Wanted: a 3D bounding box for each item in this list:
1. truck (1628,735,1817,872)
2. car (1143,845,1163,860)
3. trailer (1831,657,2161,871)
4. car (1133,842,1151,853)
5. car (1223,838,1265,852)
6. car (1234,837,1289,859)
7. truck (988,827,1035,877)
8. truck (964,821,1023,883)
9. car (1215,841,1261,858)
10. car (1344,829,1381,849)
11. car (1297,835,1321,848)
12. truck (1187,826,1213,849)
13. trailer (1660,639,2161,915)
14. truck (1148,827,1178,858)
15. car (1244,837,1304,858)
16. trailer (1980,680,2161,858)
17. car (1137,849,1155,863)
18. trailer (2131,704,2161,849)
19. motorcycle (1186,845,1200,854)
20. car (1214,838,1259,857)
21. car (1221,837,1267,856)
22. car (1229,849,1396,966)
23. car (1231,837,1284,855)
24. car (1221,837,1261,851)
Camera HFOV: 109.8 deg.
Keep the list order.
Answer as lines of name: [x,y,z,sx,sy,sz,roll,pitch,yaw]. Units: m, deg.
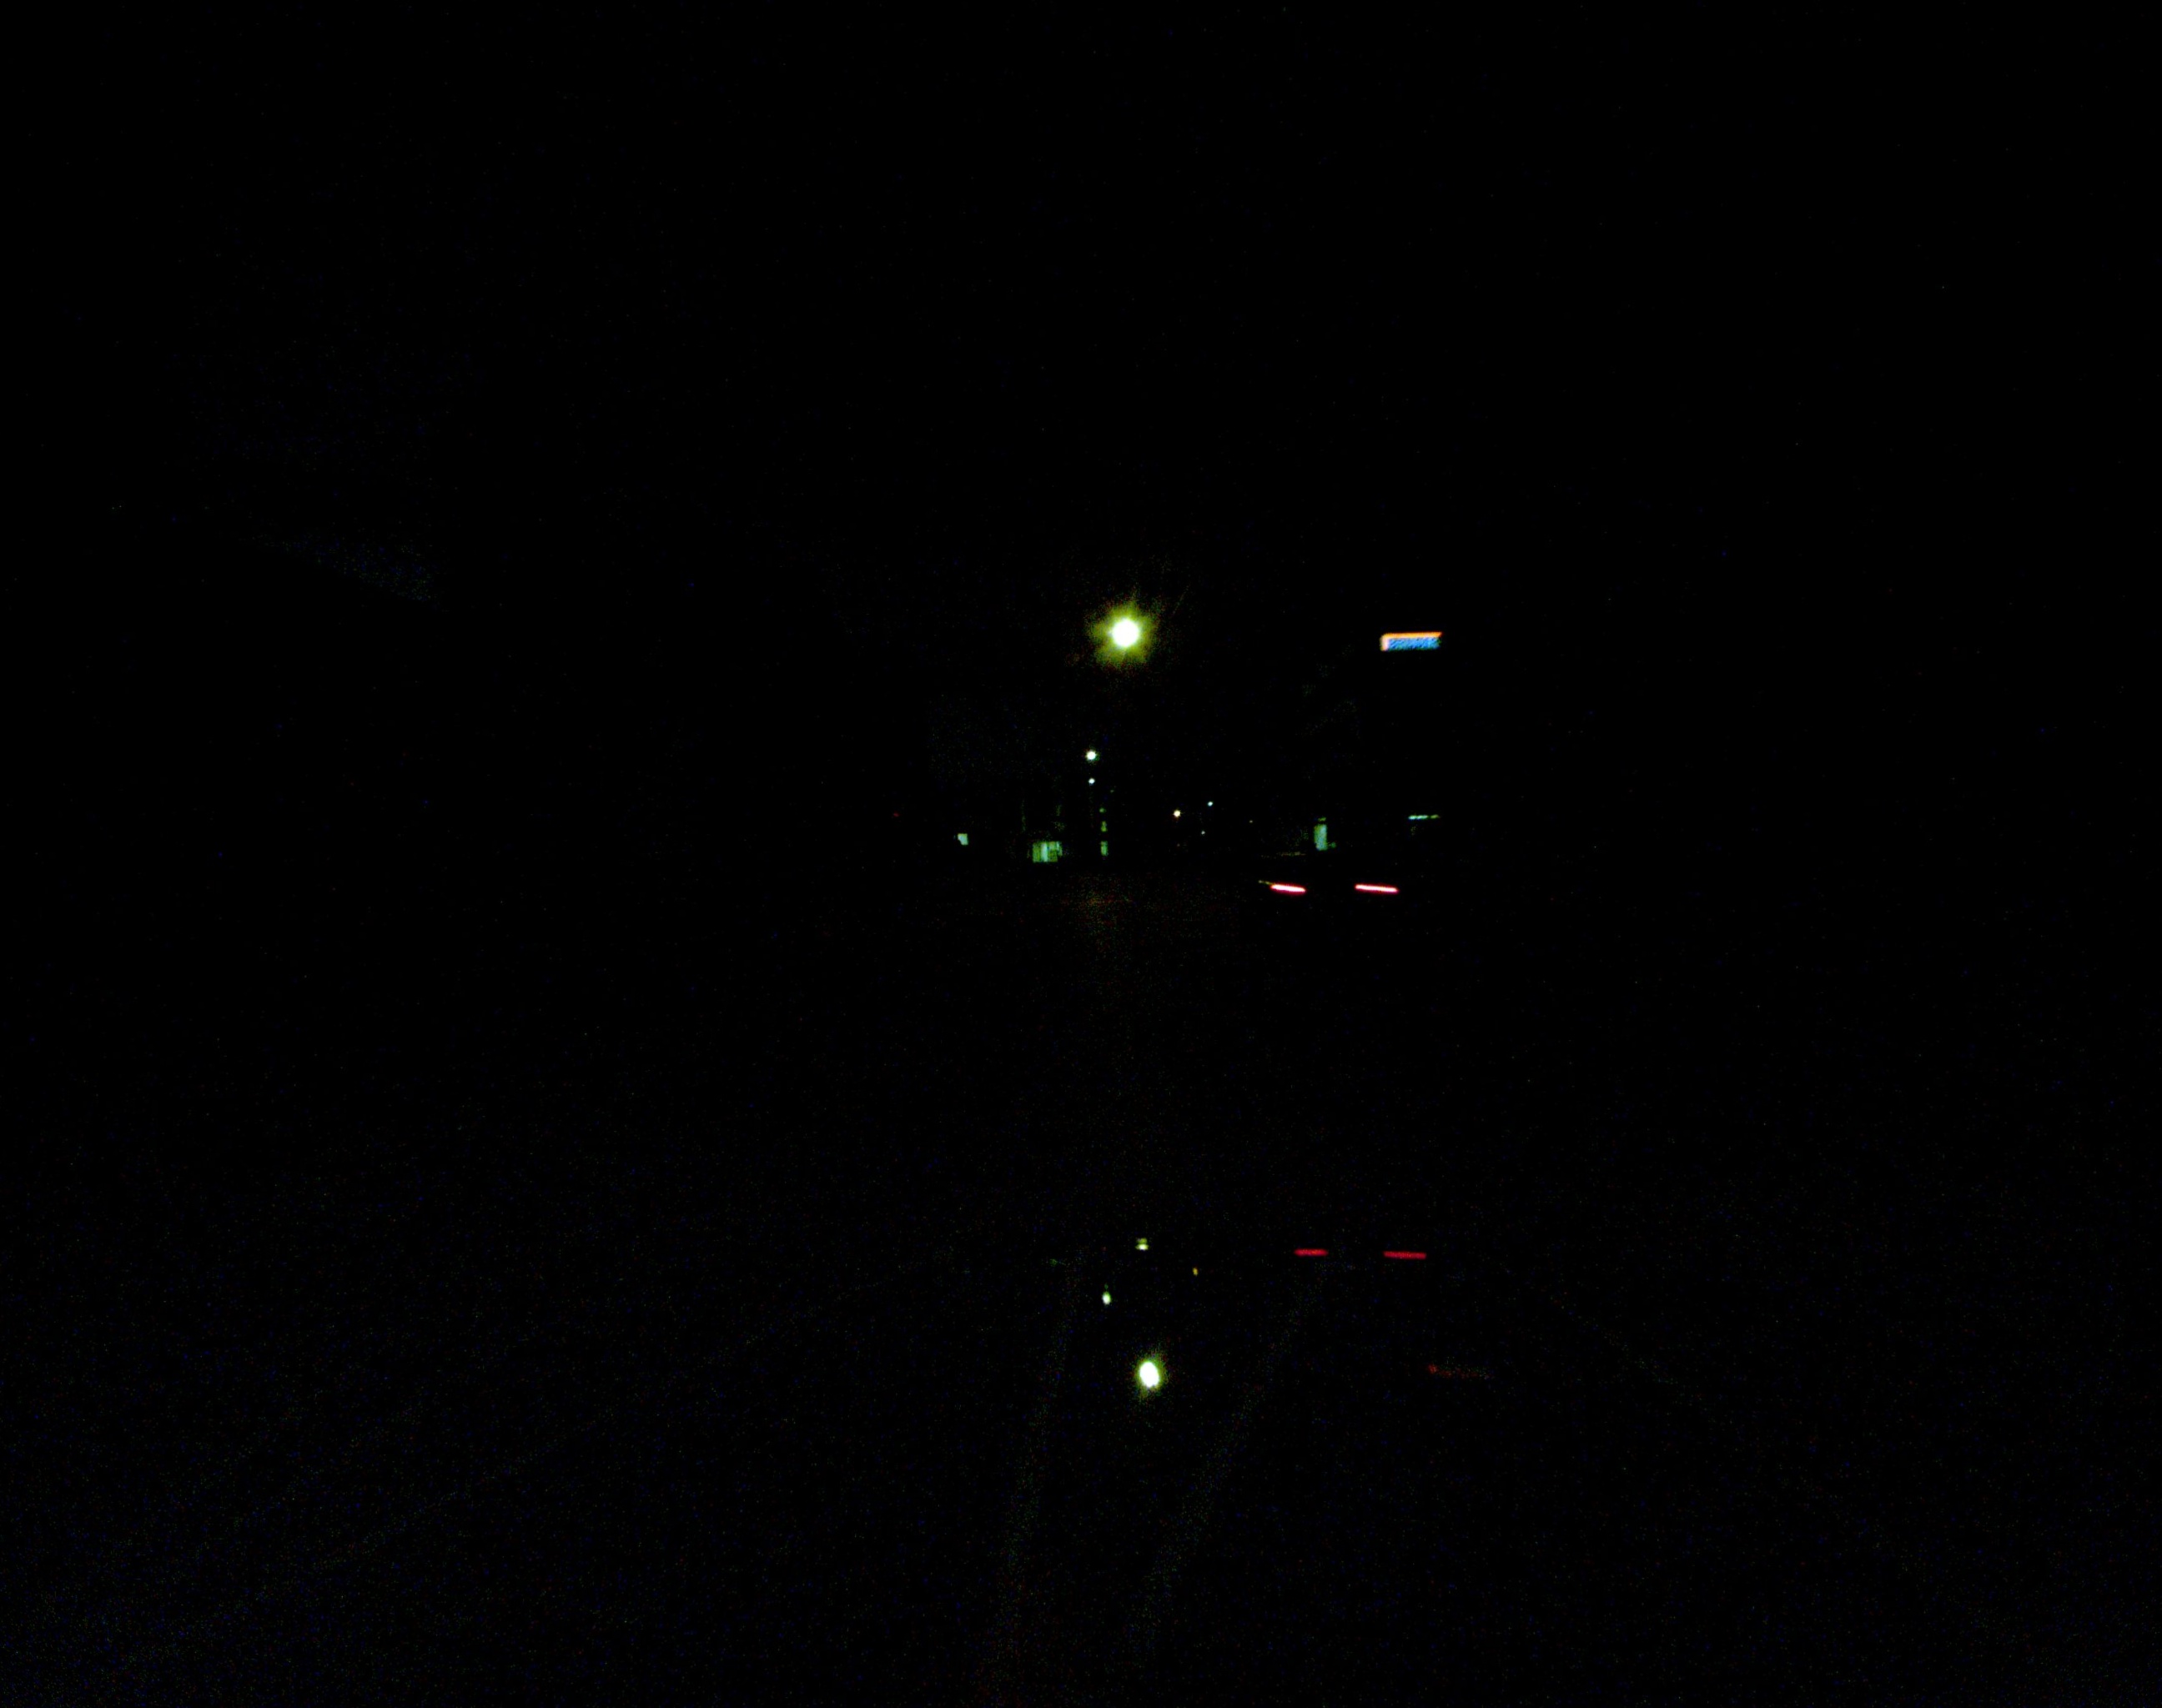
truck: [20.946,-1.540,25.185,3.062,3.910,4.507,-4,1,16]
car: [8.441,-0.179,88.916,1.869,1.583,4.497,-3,1,10]
trailer: [24.034,-1.972,18.243,3.061,4.124,15.022,-4,1,23]
car: [11.459,-1.219,141.859,1.995,2.002,4.918,-2,1,21]
car: [18.763,-1.031,87.619,4.414,1.444,1.828,-3,1,5]
car: [15.964,-0.545,67.396,4.414,1.671,1.962,-3,1,3]
truck: [-5.649,-0.203,63.005,2.762,3.761,9.136,-2,1,1]
truck: [-5.872,-0.186,52.803,2.762,3.761,10.223,-2,1,0]
car: [15.510,-0.439,75.290,4.275,1.386,1.828,-3,1,5]
car: [25.140,-1.323,68.078,1.998,1.632,4.204,-4,0,5]
car: [27.079,-1.479,90.324,1.906,1.449,4.466,-4,0,6]
truck: [22.007,-3.077,140.100,2.749,4.011,9.572,-3,1,20]
trailer: [18.754,-1.377,17.621,3.062,3.910,15.017,-4,0,16]
truck: [11.819,-1.665,108.251,2.776,4.097,9.349,-2,1,14]
car: [15.749,-0.546,62.131,4.457,1.444,2.062,-3,1,8]
trailer: [27.119,-2.099,16.407,3.061,4.332,15.021,-4,1,22]
car: [6.771,0.203,79.478,1.818,1.363,4.361,-3,1,4]
trailer: [31.359,-2.194,16.011,3.061,4.332,15.021,-4,1,21]
motorcycle: [15.177,-0.646,103.078,1.693,1.095,0.530,-6,3,-17]
car: [16.275,-0.681,79.794,4.413,1.805,1.963,-2,1,5]
car: [17.567,-0.775,82.199,4.617,1.805,1.963,-3,1,5]
car: [3.400,0.708,11.690,1.701,1.567,2.957,0,0,1]
car: [16.200,-0.737,69.876,4.414,1.470,1.851,-3,1,5]
car: [18.901,-1.161,89.935,4.414,1.474,1.892,-3,1,5]
